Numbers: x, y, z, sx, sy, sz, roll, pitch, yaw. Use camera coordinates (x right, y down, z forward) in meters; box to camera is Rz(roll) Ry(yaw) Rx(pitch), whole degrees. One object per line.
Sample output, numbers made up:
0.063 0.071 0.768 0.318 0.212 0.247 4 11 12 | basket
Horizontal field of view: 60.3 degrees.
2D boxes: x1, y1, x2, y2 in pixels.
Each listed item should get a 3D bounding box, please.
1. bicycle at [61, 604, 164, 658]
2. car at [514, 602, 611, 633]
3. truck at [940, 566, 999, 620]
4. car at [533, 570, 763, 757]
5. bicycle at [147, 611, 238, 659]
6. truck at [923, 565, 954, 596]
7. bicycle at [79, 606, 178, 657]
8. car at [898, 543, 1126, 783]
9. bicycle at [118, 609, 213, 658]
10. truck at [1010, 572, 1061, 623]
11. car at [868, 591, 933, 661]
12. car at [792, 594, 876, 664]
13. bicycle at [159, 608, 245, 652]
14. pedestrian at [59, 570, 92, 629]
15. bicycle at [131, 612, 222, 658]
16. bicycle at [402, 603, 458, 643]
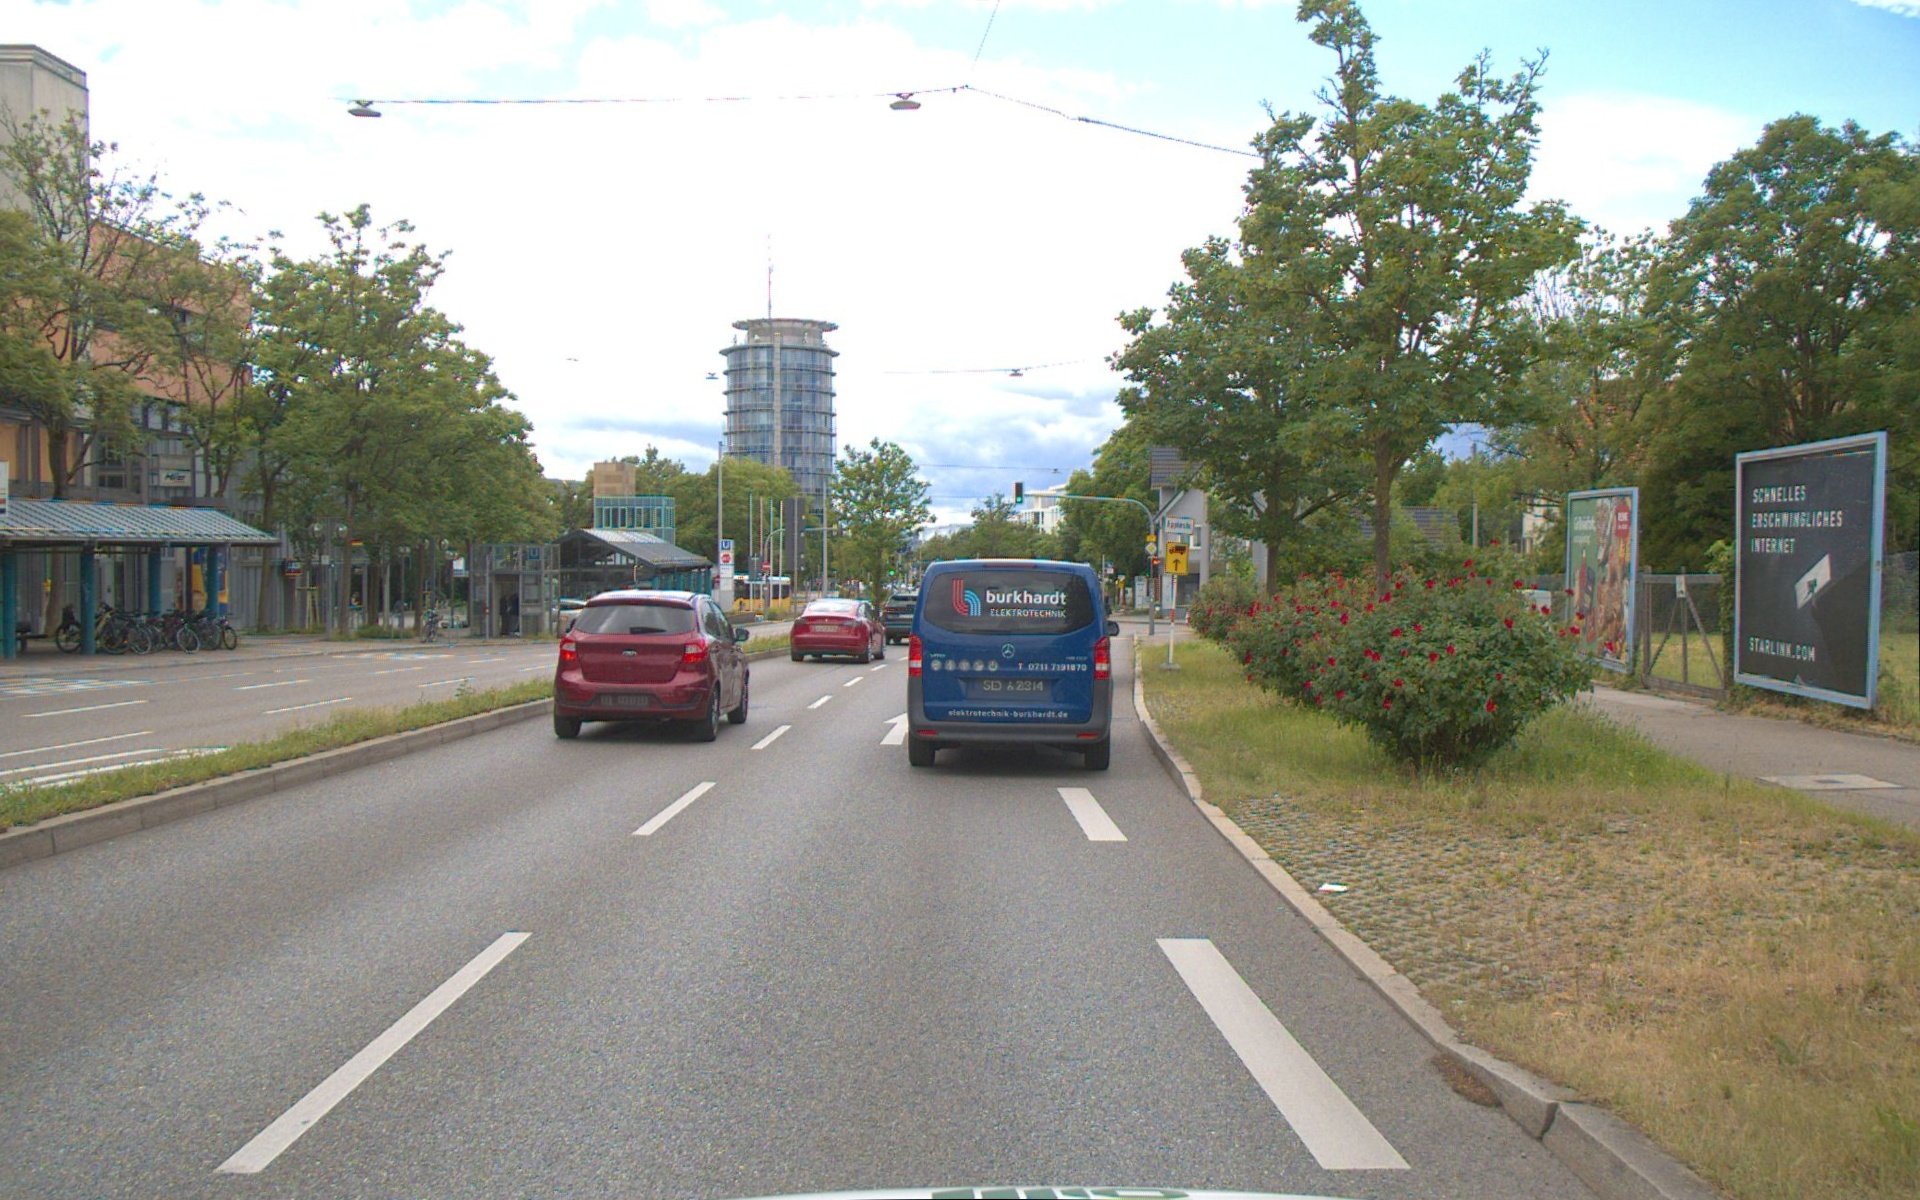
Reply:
-20.390 0.746 39.840 2.027 1.173 0.710 3 0 -10 | bicycle
-17.774 0.772 74.076 3.907 1.378 1.999 0 0 -3 | car
0.447 -0.304 71.879 1.951 2.203 5.563 2 0 6 | truck
-3.302 0.621 18.254 1.711 1.753 4.000 3 0 0 | car
-20.581 0.941 44.389 2.027 1.173 0.710 3 -1 -10 | bicycle
-2.760 -2.547 220.023 3.297 3.792 11.284 1 0 3 | truck
-20.591 0.786 40.979 2.027 1.173 0.710 2 -1 -10 | bicycle
0.557 0.535 16.321 1.907 2.000 4.543 1 0 3 | car
-20.151 0.846 41.986 2.027 1.173 0.710 1 0 -10 | bicycle
3.481 -0.116 75.562 1.951 2.203 5.563 2 0 6 | truck
-1.922 0.791 52.923 1.954 2.048 3.998 1 1 -3 | car
-2.918 0.727 38.950 1.831 1.512 3.997 -1 -2 -3 | car
-20.790 0.824 45.392 2.027 1.173 0.710 1 0 -10 | bicycle
-25.260 -0.026 47.226 0.520 1.672 0.676 0 0 6 | pedestrian
-20.538 0.900 43.371 2.027 1.173 0.710 0 0 -10 | bicycle
-17.961 0.757 56.106 1.030 1.293 2.425 2 0 2 | bicycle
